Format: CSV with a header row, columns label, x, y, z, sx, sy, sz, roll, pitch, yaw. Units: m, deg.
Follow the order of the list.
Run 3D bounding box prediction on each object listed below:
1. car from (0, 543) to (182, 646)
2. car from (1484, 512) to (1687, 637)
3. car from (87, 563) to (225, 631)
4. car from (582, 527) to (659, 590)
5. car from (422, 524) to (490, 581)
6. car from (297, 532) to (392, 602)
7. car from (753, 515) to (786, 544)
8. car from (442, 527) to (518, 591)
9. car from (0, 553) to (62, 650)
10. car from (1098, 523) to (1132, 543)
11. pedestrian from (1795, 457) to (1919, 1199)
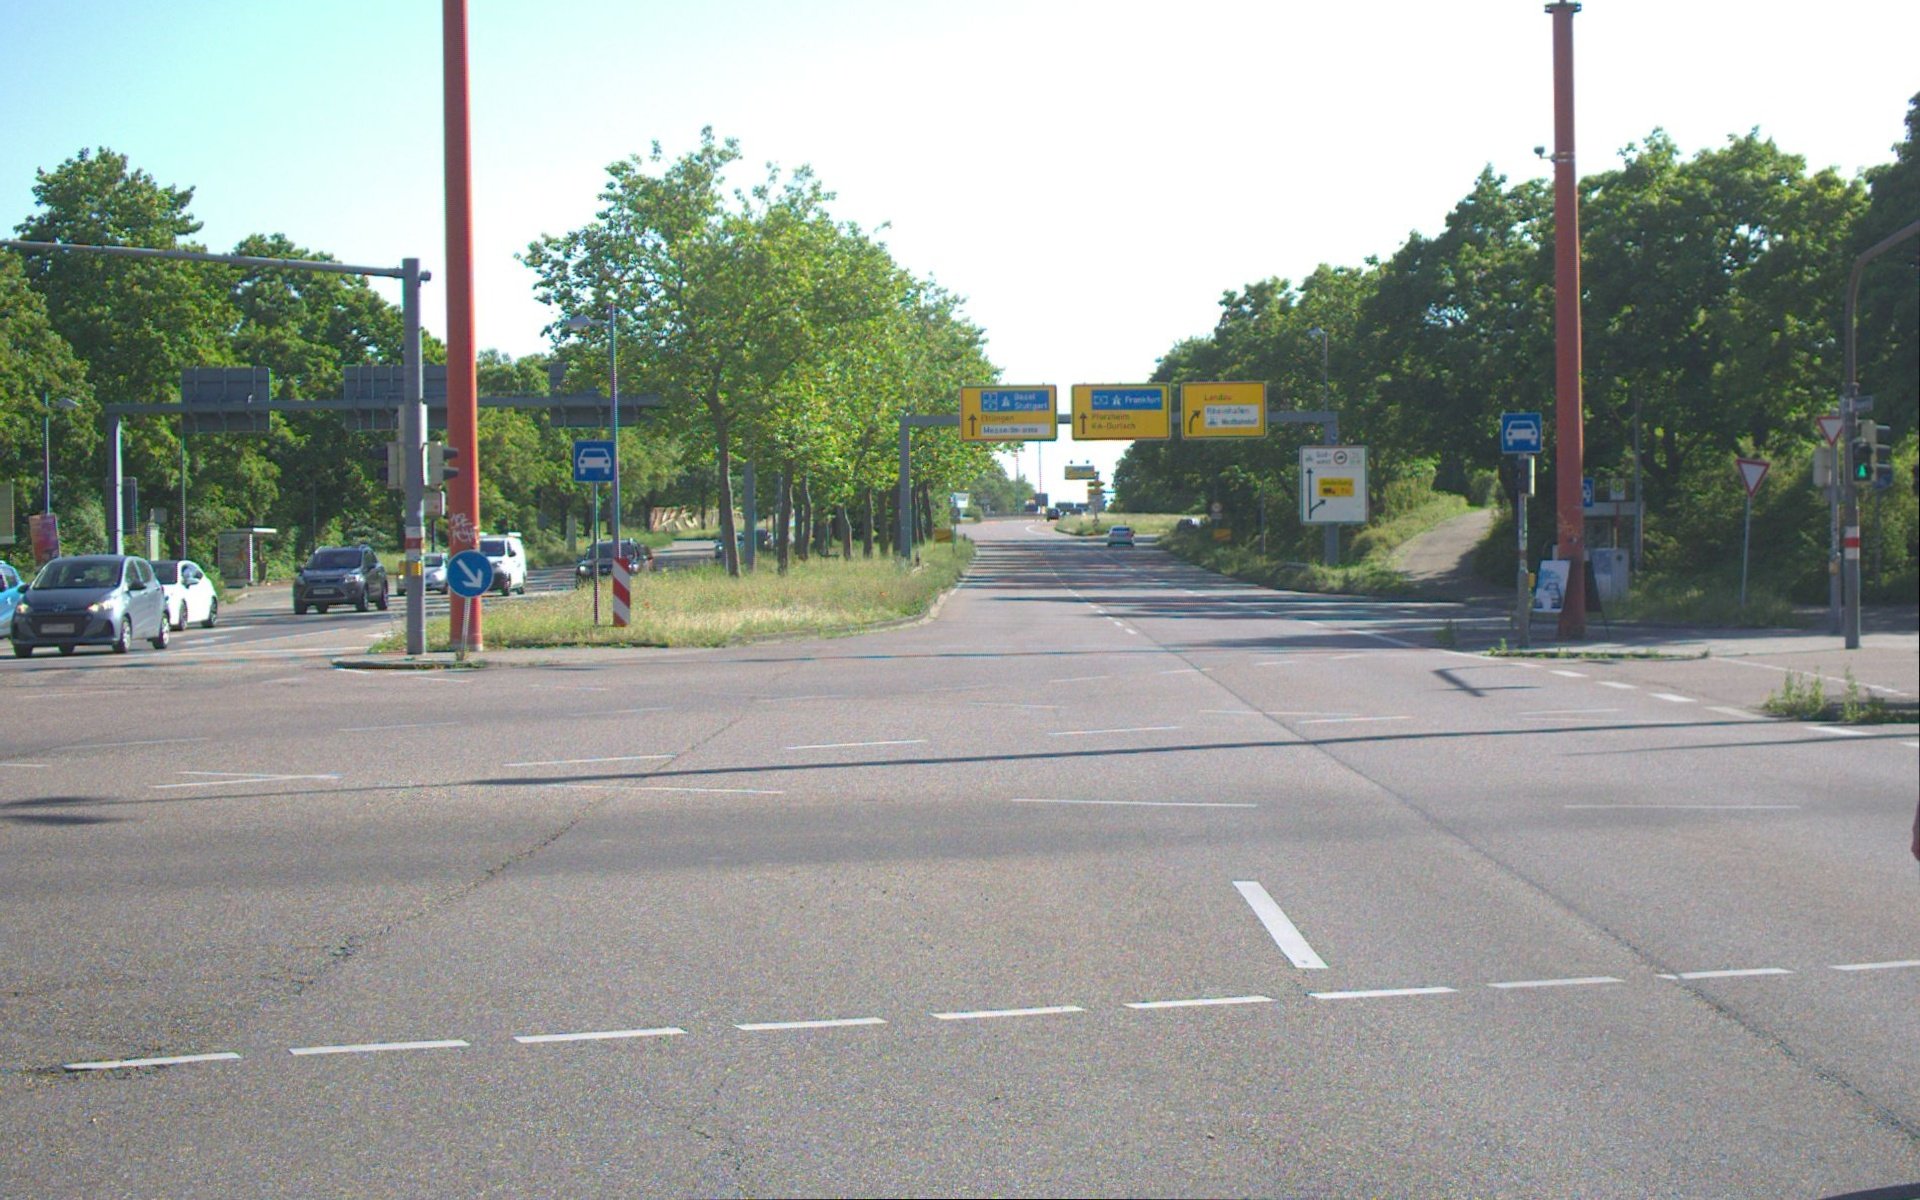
label,x,y,z,sx,sy,sz,roll,pitch,yaw
car,-13.142,-0.097,52.056,1.701,1.416,4.000,3,0,1
car,9.801,-0.417,53.631,1.996,1.881,3.994,0,1,28
car,-16.358,-0.081,70.127,2.003,1.303,4.000,-1,1,-2
car,-9.617,-1.174,97.569,1.657,1.741,4.000,1,1,2
car,-18.169,-1.693,124.092,2.003,2.007,4.000,0,1,-2
car,-15.788,-0.866,88.348,1.625,1.733,4.000,0,1,1
car,-12.316,-4.557,222.371,2.003,1.852,4.000,0,1,-2
car,-15.414,-1.327,110.609,2.003,2.007,4.000,0,1,-2
car,-16.233,0.003,56.789,1.704,1.553,3.803,1,1,2
car,10.423,-4.510,231.520,2.054,1.366,4.392,-1,1,-1
pedestrian,2.652,0.550,8.369,0.899,1.782,0.892,1,2,38
